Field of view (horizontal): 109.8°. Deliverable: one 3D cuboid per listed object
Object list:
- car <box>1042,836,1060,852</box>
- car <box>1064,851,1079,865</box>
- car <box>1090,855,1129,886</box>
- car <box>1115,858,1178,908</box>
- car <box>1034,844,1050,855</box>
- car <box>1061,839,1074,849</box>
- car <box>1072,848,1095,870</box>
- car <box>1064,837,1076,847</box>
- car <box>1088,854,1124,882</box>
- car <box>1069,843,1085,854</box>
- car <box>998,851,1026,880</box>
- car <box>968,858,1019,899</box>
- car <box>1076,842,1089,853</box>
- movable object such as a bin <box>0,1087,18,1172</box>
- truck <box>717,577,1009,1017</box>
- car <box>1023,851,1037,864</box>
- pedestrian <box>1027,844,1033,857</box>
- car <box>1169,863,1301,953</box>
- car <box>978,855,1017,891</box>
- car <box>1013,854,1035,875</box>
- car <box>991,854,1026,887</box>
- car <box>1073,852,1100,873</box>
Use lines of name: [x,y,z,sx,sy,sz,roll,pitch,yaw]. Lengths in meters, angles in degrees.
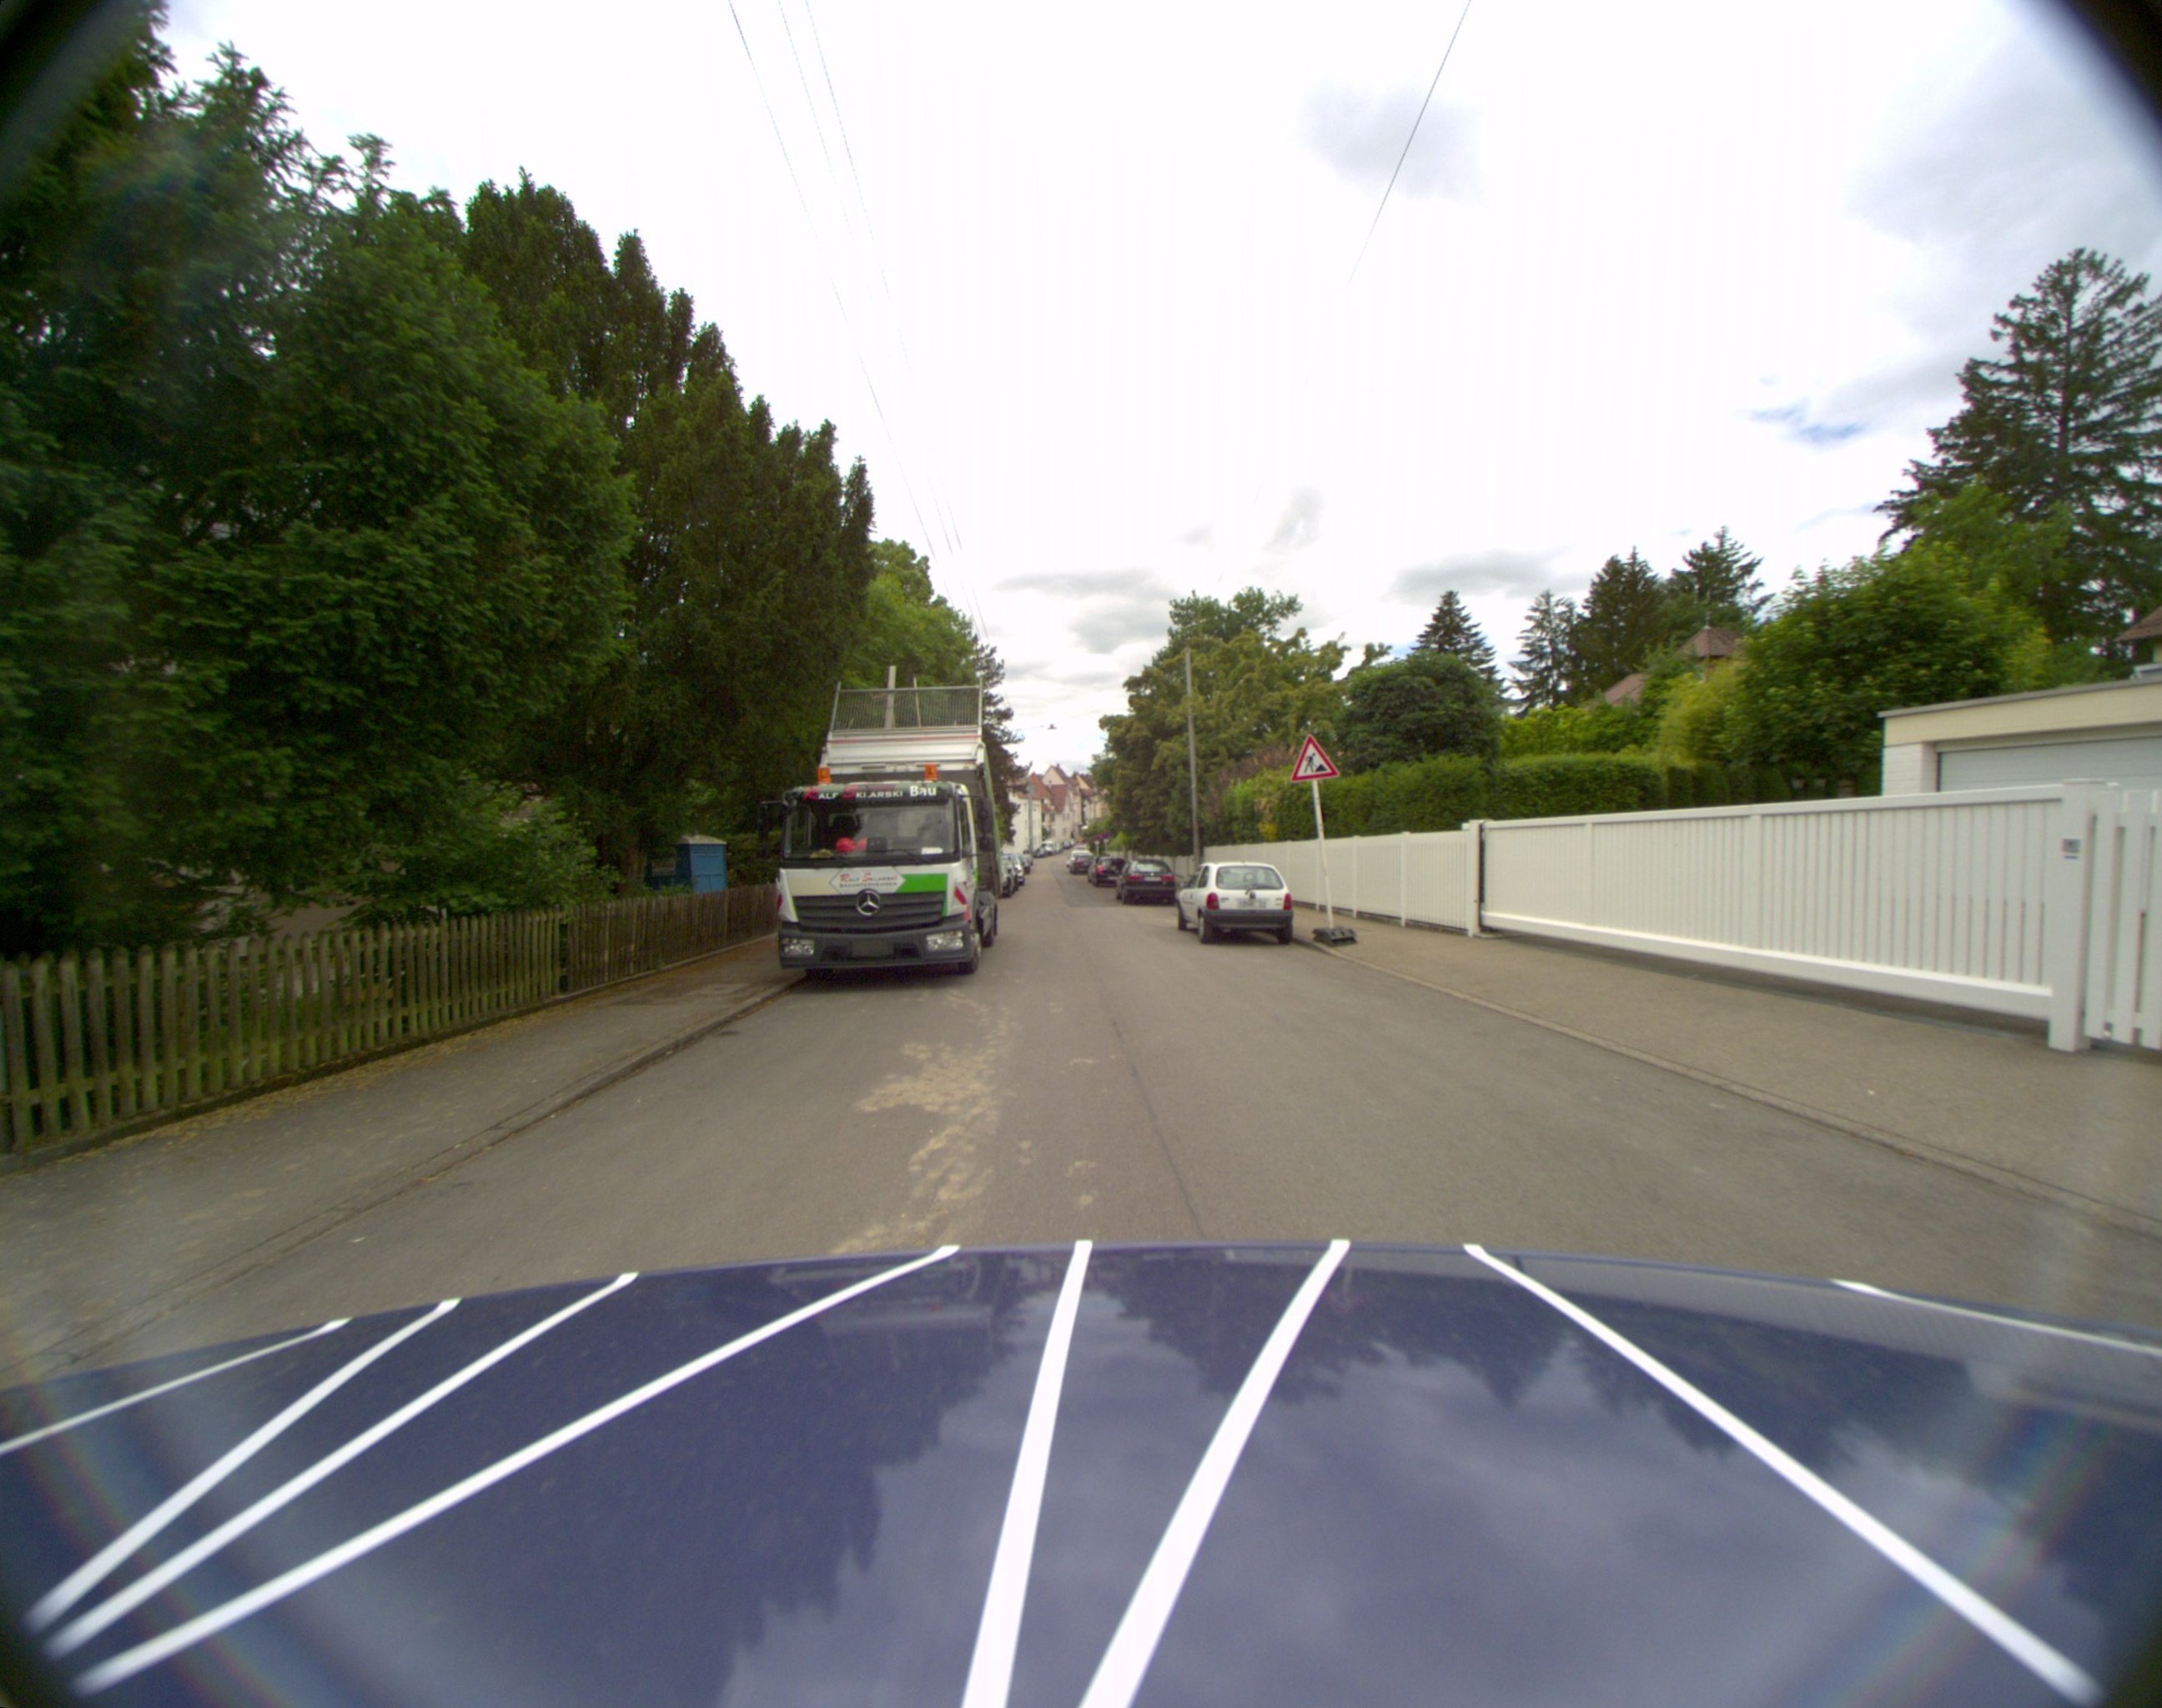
car: [-4.974,-1.670,127.011,1.997,2.410,5.293,0,4,10]
car: [-1.047,0.428,86.583,1.446,1.543,2.770,2,1,4]
car: [1.403,0.789,38.735,1.659,1.472,3.887,1,0,-2]
car: [2.085,0.891,25.296,1.645,1.414,4.548,1,0,-1]
car: [-6.123,-0.777,120.655,1.822,1.478,4.286,-1,3,7]
car: [-2.539,-1.815,143.766,1.780,1.711,4.000,-1,2,7]
car: [0.165,0.408,67.987,1.859,1.902,4.617,1,1,-2]
car: [-2.072,-2.239,143.804,1.608,1.482,4.022,-2,4,8]
car: [1.396,0.783,43.290,1.627,1.524,2.961,1,0,-6]
car: [-0.630,-0.839,121.321,1.807,1.650,4.152,0,2,8]
car: [-4.762,0.764,52.907,1.687,1.818,4.155,-3,0,-3]
car: [-3.505,0.953,31.108,1.656,1.415,4.659,-3,1,-2]
car: [0.287,-1.088,125.887,1.610,1.445,3.614,2,4,8]
movable object such as a bin: [-6.374,1.260,3.837,0.691,1.149,0.765,-9,3,-11]
truck: [-2.712,-0.653,11.935,2.531,4.721,7.185,-3,1,-2]
car: [-6.524,0.387,97.196,1.576,1.523,2.866,-4,1,-5]
pedestrian: [-7.362,-0.504,109.730,0.822,1.750,0.643,-3,3,-4]
car: [2.790,0.920,14.598,1.600,1.425,3.999,0,0,-2]
car: [-3.924,0.868,36.273,1.703,1.561,4.306,-1,1,-4]
car: [-5.025,0.886,67.033,1.755,1.599,4.073,-4,1,-3]
car: [-4.012,0.863,41.879,1.763,1.596,4.572,-3,1,-6]
car: [0.421,0.619,61.233,1.796,1.614,4.340,0,0,-5]
